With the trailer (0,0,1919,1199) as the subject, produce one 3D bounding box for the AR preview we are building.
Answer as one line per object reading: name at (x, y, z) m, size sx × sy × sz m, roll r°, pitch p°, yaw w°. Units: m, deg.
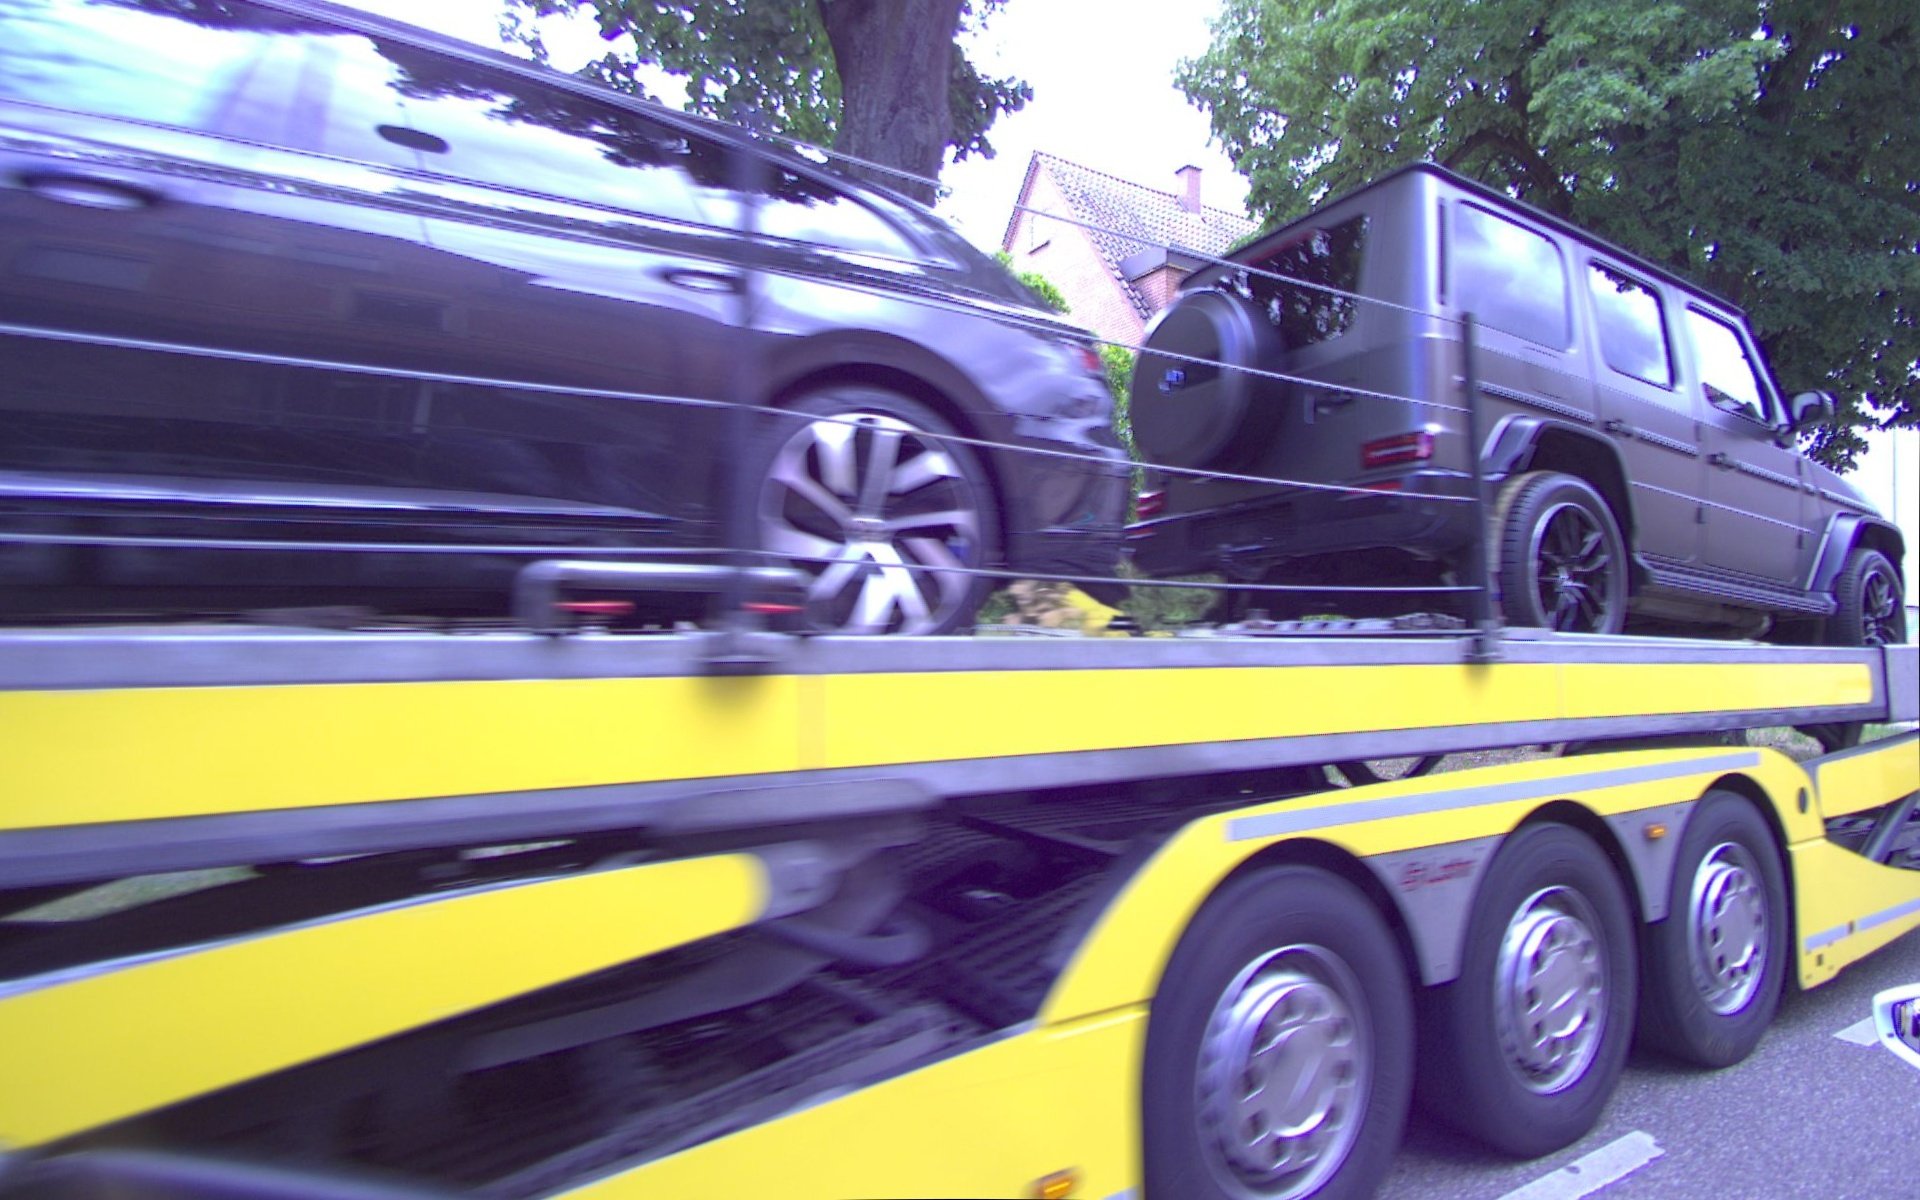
trailer at (-1.175, -0.299, 2.592) m, size 14.225 × 3.858 × 2.844 m, roll 2°, pitch -1°, yaw -31°
